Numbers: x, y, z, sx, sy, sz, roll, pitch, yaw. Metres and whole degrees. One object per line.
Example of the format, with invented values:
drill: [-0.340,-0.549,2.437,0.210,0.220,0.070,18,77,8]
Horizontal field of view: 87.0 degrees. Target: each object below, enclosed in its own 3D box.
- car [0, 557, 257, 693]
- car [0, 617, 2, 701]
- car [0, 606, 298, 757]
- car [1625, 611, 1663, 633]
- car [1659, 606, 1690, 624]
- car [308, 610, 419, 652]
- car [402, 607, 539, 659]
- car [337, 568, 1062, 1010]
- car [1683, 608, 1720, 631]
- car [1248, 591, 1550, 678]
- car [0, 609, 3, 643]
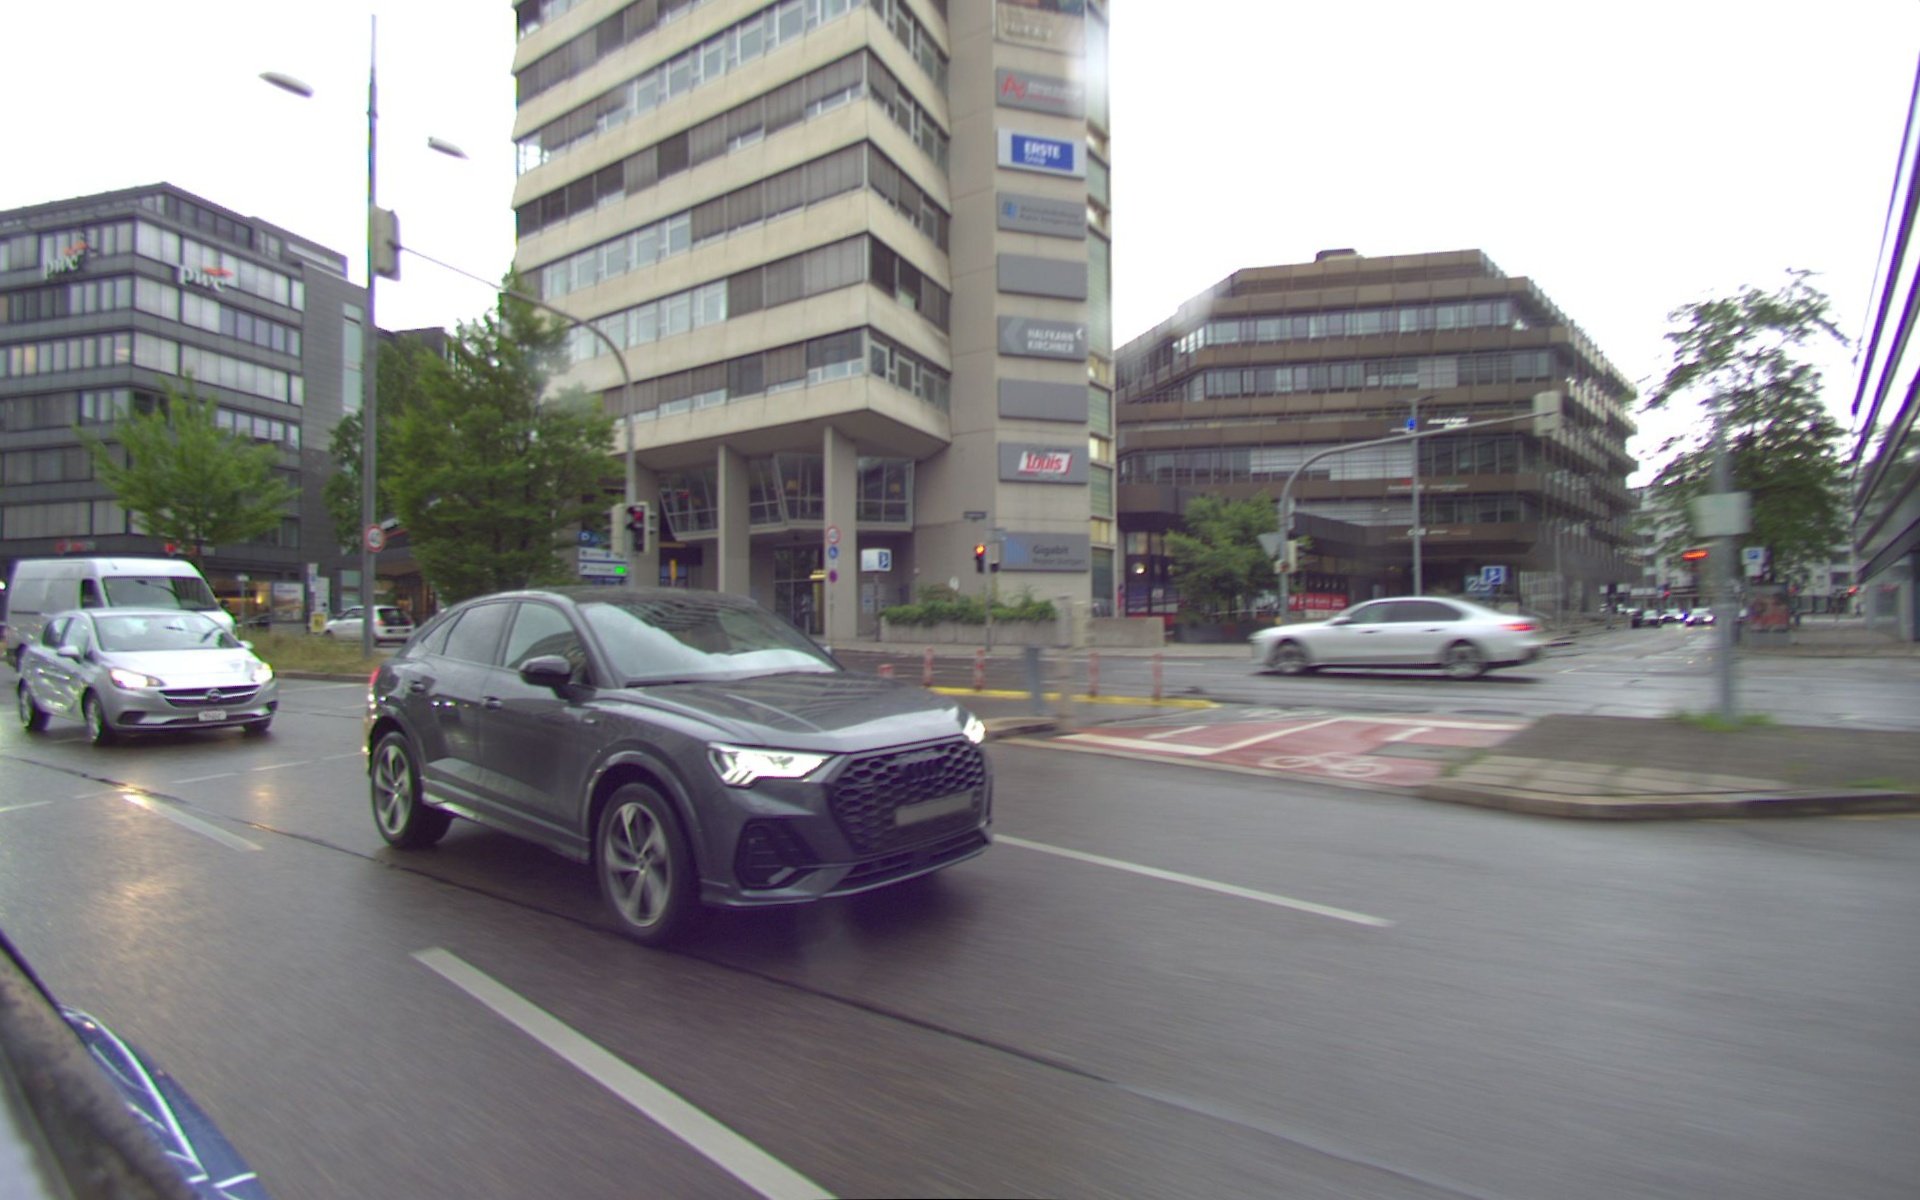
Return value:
car: [-16.778,0.464,20.165,5.693,2.403,2.239,-1,0,28]
car: [-18.488,1.022,17.388,4.225,1.412,1.886,-1,0,31]
car: [-9.796,0.841,12.025,4.116,1.490,1.755,-1,0,34]
car: [54.984,1.761,81.357,2.000,1.652,3.944,-1,0,42]
car: [69.608,1.432,98.624,2.000,1.652,3.944,-1,0,42]
car: [-23.111,1.175,39.195,4.039,1.528,1.740,-1,0,25]
car: [-15.071,0.988,31.138,3.979,1.475,1.728,-1,0,27]
car: [-1.739,0.681,5.699,4.385,1.564,1.779,-1,0,41]
car: [58.677,1.513,80.037,2.000,1.652,3.944,-1,0,42]
car: [8.559,0.625,20.000,5.241,1.529,1.768,-1,0,35]
car: [-44.617,1.174,44.769,4.033,1.528,1.742,-1,0,21]
